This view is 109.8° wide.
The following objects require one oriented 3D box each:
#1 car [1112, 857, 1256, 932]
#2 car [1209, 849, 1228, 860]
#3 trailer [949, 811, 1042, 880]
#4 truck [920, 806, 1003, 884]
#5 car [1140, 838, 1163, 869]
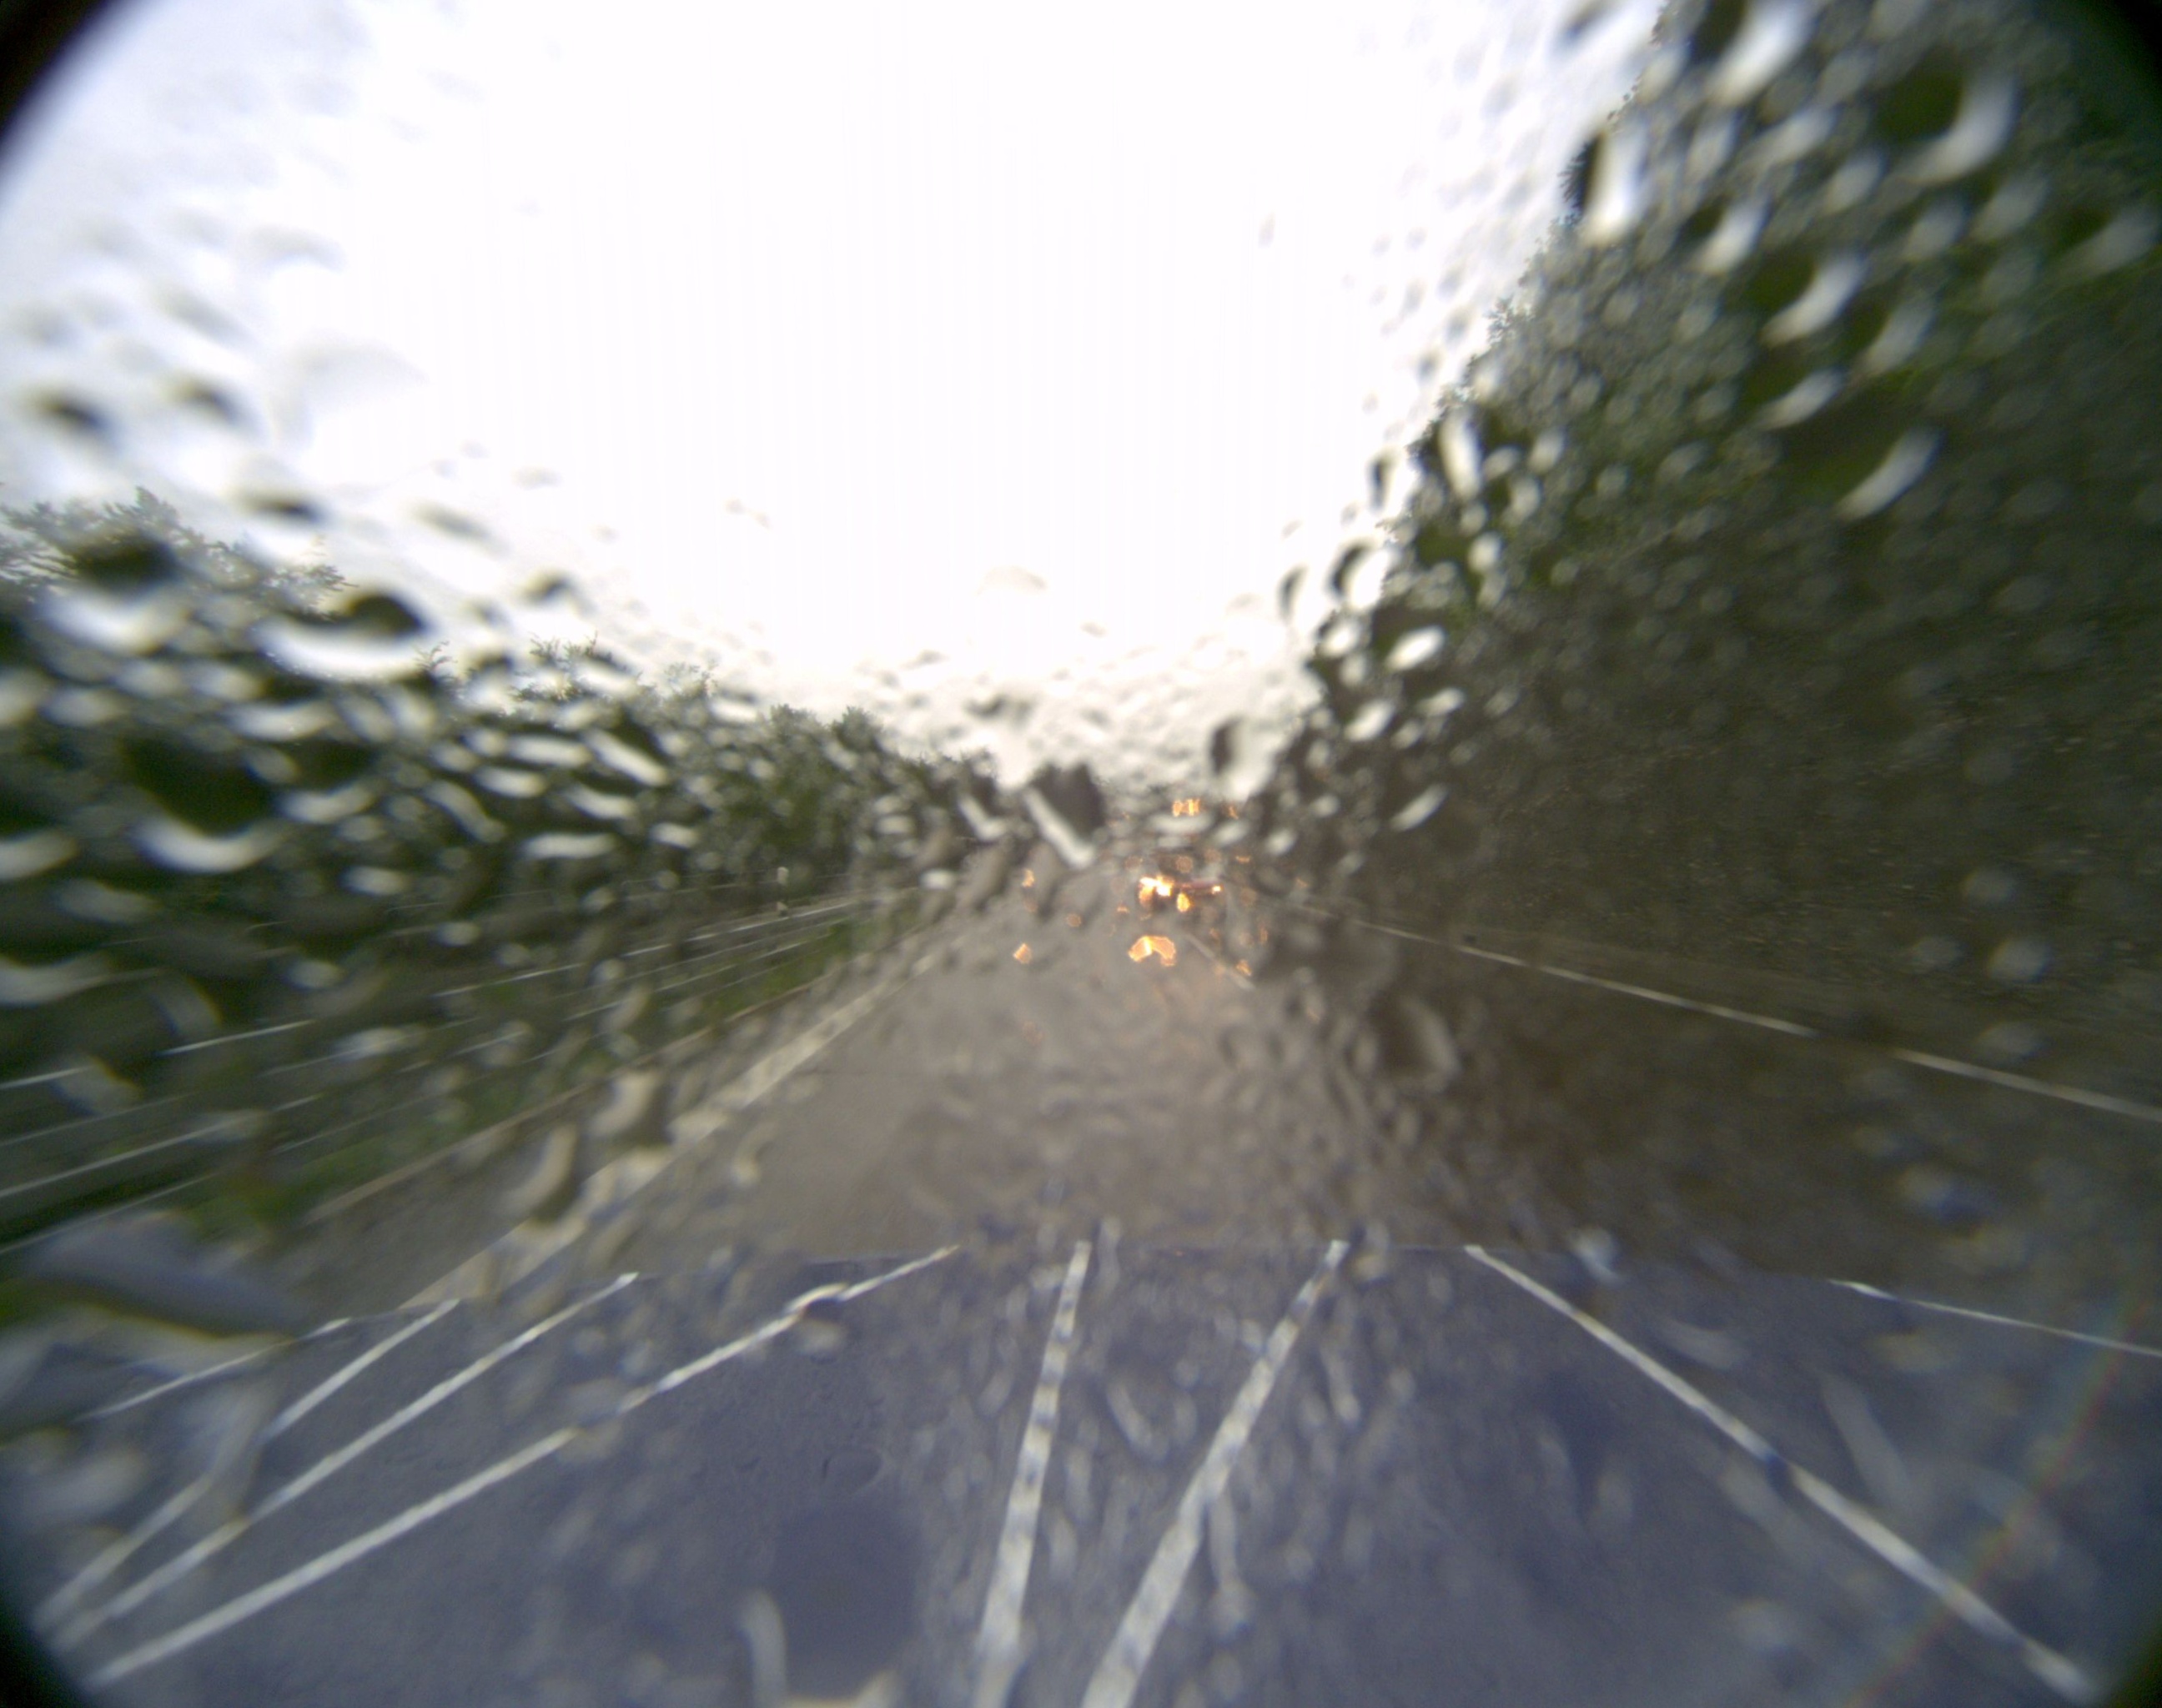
[{"bbox_3d":[2.246,0.856,18.434,2.360,1.549,5.497,0,0,-4],"label":"car"},{"bbox_3d":[18.679,0.107,103.092,1.739,1.393,4.005,-2,0,20],"label":"car"},{"bbox_3d":[-5.606,-0.639,53.547,2.897,4.221,14.704,0,1,8],"label":"trailer"},{"bbox_3d":[-6.837,-0.522,44.670,2.901,4.221,6.884,0,1,8],"label":"truck"},{"bbox_3d":[7.134,-0.067,76.727,1.740,3.008,4.003,0,1,13],"label":"car"}]
